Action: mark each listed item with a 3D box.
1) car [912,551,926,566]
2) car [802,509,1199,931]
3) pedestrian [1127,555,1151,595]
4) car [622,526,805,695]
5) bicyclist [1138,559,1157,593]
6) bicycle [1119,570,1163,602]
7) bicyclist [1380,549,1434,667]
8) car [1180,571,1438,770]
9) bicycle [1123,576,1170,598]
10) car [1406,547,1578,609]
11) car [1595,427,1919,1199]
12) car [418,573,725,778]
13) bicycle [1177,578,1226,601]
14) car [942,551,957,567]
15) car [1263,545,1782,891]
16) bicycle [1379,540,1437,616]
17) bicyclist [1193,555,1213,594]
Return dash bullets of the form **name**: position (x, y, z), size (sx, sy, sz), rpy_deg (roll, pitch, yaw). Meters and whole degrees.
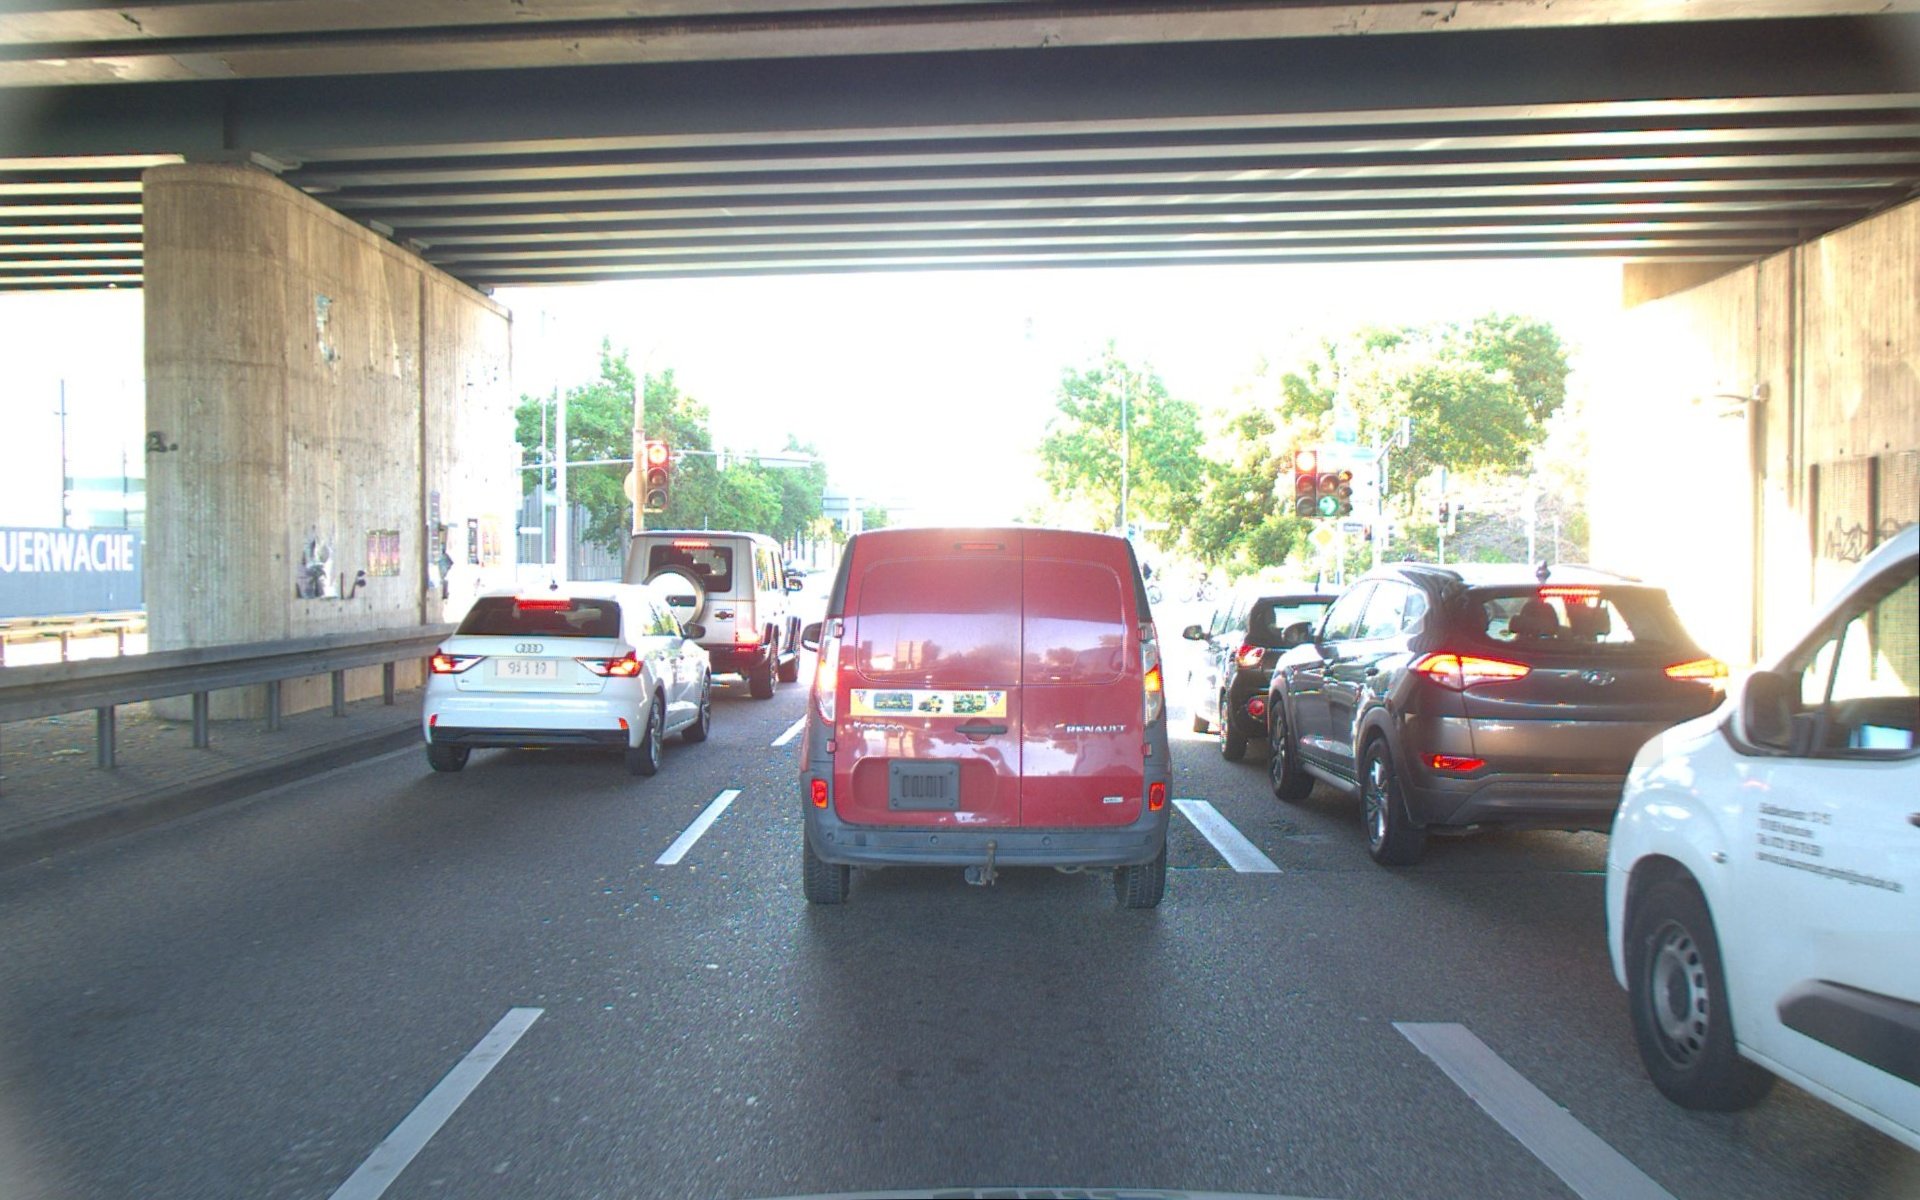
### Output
- **car**: position (-6.137, -6.212, 247.818), size (1.953, 2.049, 4.000), rpy_deg (1, 0, 0)
- **car**: position (0.176, 0.503, 9.148), size (1.684, 1.795, 4.000), rpy_deg (1, 0, 0)
- **pedestrian**: position (7.147, -0.998, 66.070), size (0.820, 1.581, 0.556), rpy_deg (0, 0, -6)
- **car**: position (-3.045, 0.108, 21.125), size (1.776, 1.937, 3.813), rpy_deg (1, 0, -1)
- **bicyclist**: position (7.721, -0.982, 68.078), size (0.640, 1.352, 0.602), rpy_deg (1, 0, -3)
- **bicycle**: position (7.229, -0.558, 66.075), size (1.696, 1.254, 0.557), rpy_deg (0, 0, -7)
- **bicyclist**: position (6.435, 0.113, 23.839), size (0.663, 1.657, 0.644), rpy_deg (1, 0, 10)
- **car**: position (3.125, 0.549, 15.543), size (1.618, 1.579, 3.864), rpy_deg (1, 1, 1)
- **bicycle**: position (7.668, -0.550, 68.066), size (1.875, 0.882, 0.605), rpy_deg (0, 0, -4)
- **car**: position (15.182, -0.621, 47.349), size (4.260, 1.635, 1.999), rpy_deg (1, 0, -3)
- **car**: position (3.076, 0.564, 3.345), size (1.777, 1.865, 4.299), rpy_deg (1, 1, -2)
- **car**: position (-3.042, 0.524, 13.701), size (1.658, 1.434, 3.813), rpy_deg (1, 0, -1)
- **bicycle**: position (9.756, -0.430, 66.772), size (1.912, 0.889, 0.699), rpy_deg (0, 0, 2)
- **car**: position (-1.403, -5.482, 223.024), size (1.953, 2.049, 4.000), rpy_deg (1, 0, 0)
- **car**: position (3.174, 0.566, 10.239), size (1.742, 1.684, 3.989), rpy_deg (1, 1, -2)
- **bicycle**: position (6.450, -0.303, 23.879), size (0.662, 1.042, 1.530), rpy_deg (1, 0, 11)
- **bicyclist**: position (9.792, -1.013, 66.770), size (0.739, 1.569, 0.697), rpy_deg (0, 0, 3)
